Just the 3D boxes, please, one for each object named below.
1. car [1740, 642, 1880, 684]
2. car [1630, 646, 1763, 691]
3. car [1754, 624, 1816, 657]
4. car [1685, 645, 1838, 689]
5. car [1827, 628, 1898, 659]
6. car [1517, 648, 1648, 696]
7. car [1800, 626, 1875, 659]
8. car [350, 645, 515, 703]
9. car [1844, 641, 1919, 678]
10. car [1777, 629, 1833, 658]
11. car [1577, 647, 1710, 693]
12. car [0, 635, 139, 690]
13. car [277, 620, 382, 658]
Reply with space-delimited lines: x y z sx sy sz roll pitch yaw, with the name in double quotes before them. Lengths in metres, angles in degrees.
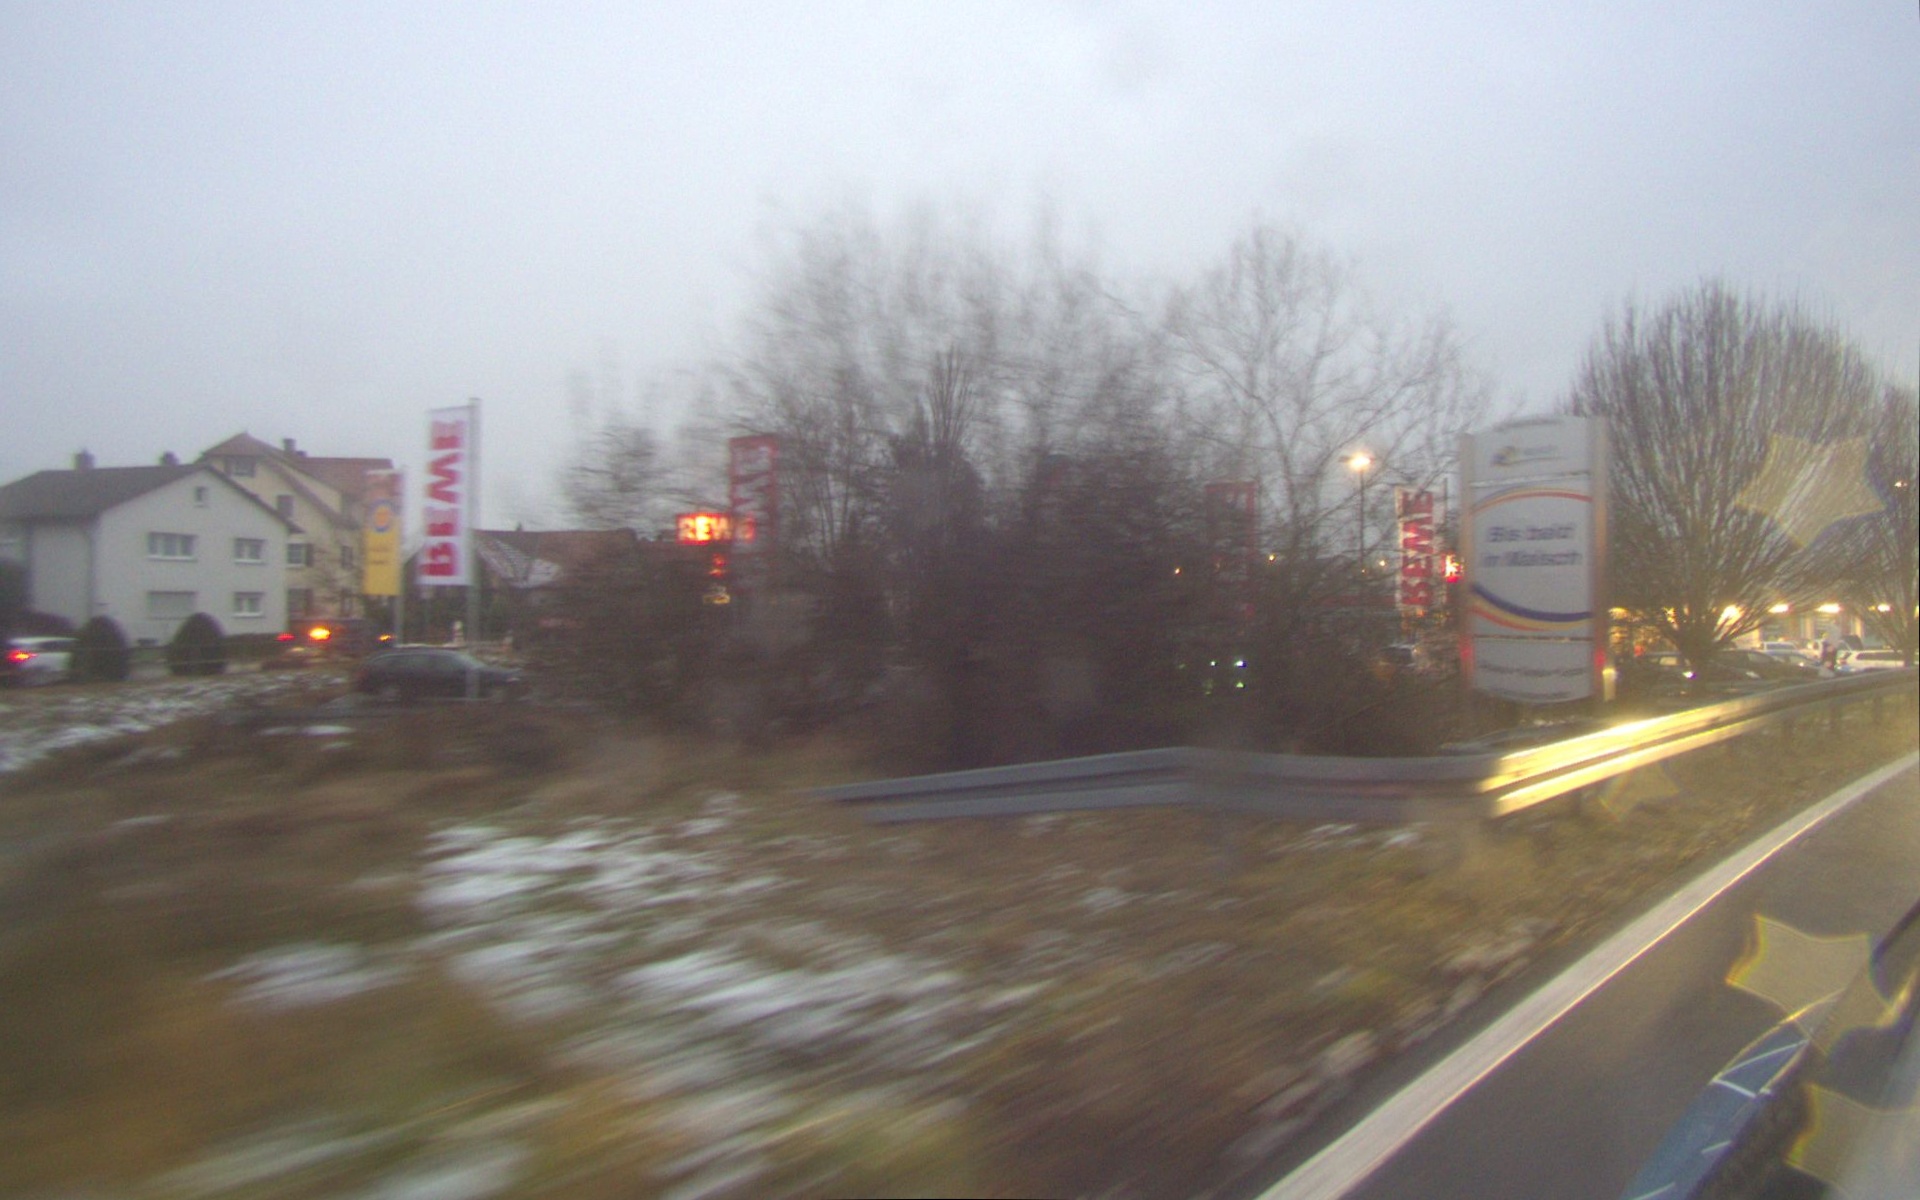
"car" 34.855 2.546 41.662 4.149 1.414 1.882 1 1 33
"car" 28.311 2.612 39.042 3.964 1.438 1.615 0 0 29
"car" 43.157 2.072 53.054 1.790 1.554 4.495 0 0 30
"car" 31.689 2.612 40.200 4.554 1.473 1.909 0 0 33
"car" 53.259 2.511 59.811 1.779 1.615 3.953 1 0 20
"car" 22.591 2.599 36.903 3.964 1.457 1.779 0 0 29
"car" 46.785 2.246 54.075 1.807 1.660 4.431 0 -1 24
"car" -14.753 2.052 28.512 3.868 1.420 1.614 -1 -1 -15
"car" 41.334 2.588 43.596 4.675 1.414 1.880 1 1 36
"car" 49.404 2.520 59.213 1.712 1.520 3.986 1 0 28
"car" 25.442 2.571 37.821 3.964 1.438 1.615 0 0 29
"car" -27.860 1.902 31.330 1.728 1.511 3.851 -2 -2 0
"car" -27.604 1.692 44.427 1.888 1.511 3.697 -3 -2 12
